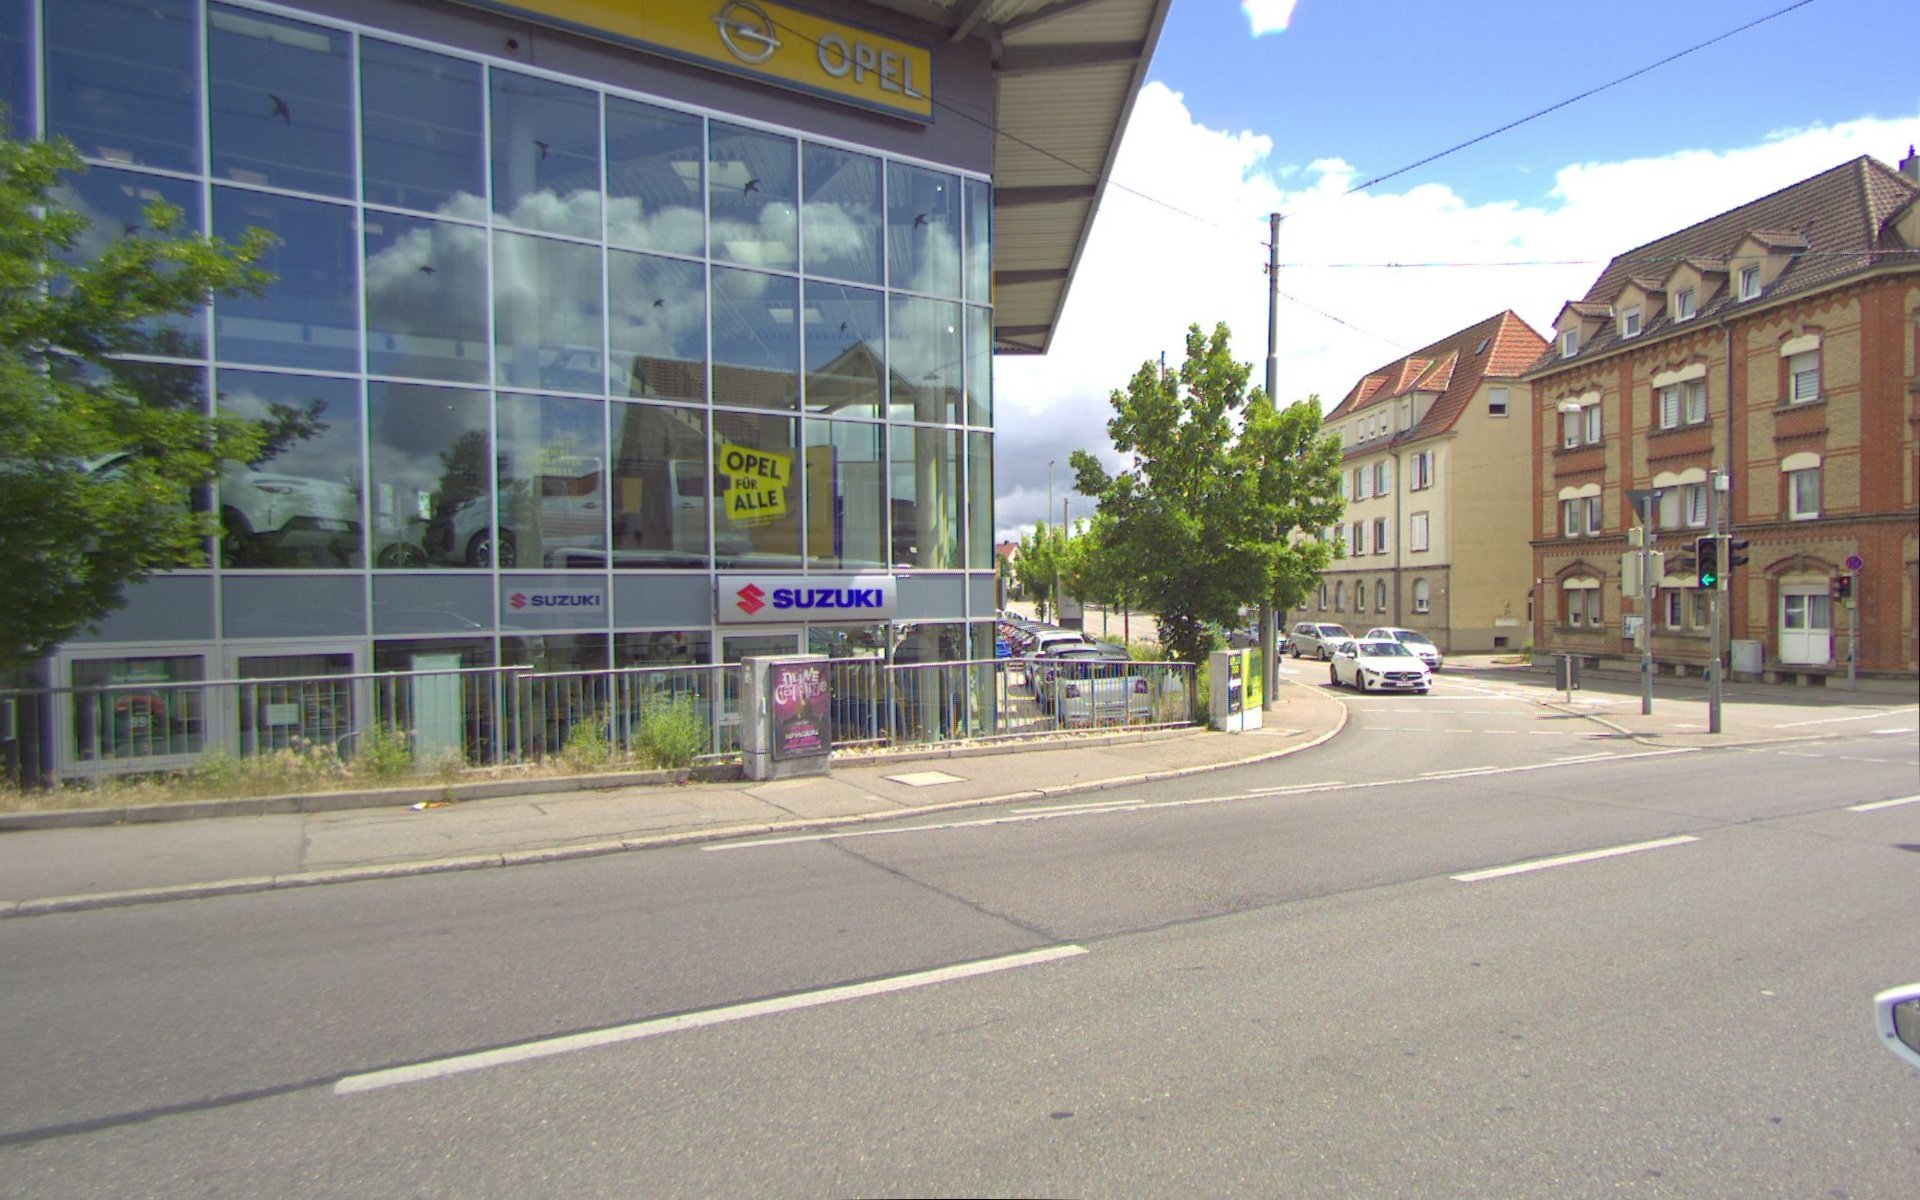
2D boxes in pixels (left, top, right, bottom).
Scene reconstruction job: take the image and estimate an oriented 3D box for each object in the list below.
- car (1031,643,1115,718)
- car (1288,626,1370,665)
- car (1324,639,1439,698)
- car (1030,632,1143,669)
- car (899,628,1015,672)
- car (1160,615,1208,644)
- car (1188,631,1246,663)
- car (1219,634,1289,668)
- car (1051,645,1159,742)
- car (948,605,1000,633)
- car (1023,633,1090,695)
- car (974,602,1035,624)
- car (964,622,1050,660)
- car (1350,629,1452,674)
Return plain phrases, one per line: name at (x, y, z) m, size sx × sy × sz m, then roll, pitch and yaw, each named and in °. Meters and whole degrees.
car at (2.655, 1.875, 24.345) m, size 1.487 × 1.543 × 3.792 m, roll 1°, pitch -1°, yaw -2°
car at (16.155, 1.957, 44.163) m, size 1.715 × 1.539 × 3.996 m, roll 2°, pitch -1°, yaw -7°
car at (11.792, 1.883, 28.422) m, size 1.825 × 1.466 × 4.394 m, roll 1°, pitch -2°, yaw 6°
car at (4.588, 1.839, 36.857) m, size 3.921 × 1.202 × 1.818 m, roll 1°, pitch -1°, yaw 0°
car at (-0.090, 1.806, 36.849) m, size 3.919 × 1.478 × 1.605 m, roll 1°, pitch -1°, yaw 15°
car at (14.140, 1.864, 63.620) m, size 1.908 × 1.743 × 3.998 m, roll 1°, pitch -1°, yaw -4°
car at (14.240, 2.570, 55.922) m, size 1.961 × 1.607 × 4.345 m, roll 1°, pitch -1°, yaw -2°
car at (14.782, 2.531, 50.671) m, size 1.963 × 1.539 × 3.996 m, roll 2°, pitch -1°, yaw -7°
car at (2.821, 1.787, 20.196) m, size 1.720 × 1.596 × 3.688 m, roll 3°, pitch -1°, yaw 2°
car at (1.102, 1.480, 76.346) m, size 2.201 × 2.040 × 4.927 m, roll 1°, pitch -1°, yaw 24°
car at (2.704, 1.780, 28.739) m, size 1.487 × 1.596 × 3.414 m, roll 1°, pitch -1°, yaw -2°
car at (2.887, 0.872, 66.201) m, size 3.921 × 1.311 × 1.818 m, roll 1°, pitch -1°, yaw 0°
car at (2.067, 1.827, 45.514) m, size 1.974 × 1.599 × 4.476 m, roll 2°, pitch -2°, yaw -26°
car at (16.484, 1.888, 37.738) m, size 1.670 × 1.517 × 3.995 m, roll 2°, pitch -1°, yaw -7°
